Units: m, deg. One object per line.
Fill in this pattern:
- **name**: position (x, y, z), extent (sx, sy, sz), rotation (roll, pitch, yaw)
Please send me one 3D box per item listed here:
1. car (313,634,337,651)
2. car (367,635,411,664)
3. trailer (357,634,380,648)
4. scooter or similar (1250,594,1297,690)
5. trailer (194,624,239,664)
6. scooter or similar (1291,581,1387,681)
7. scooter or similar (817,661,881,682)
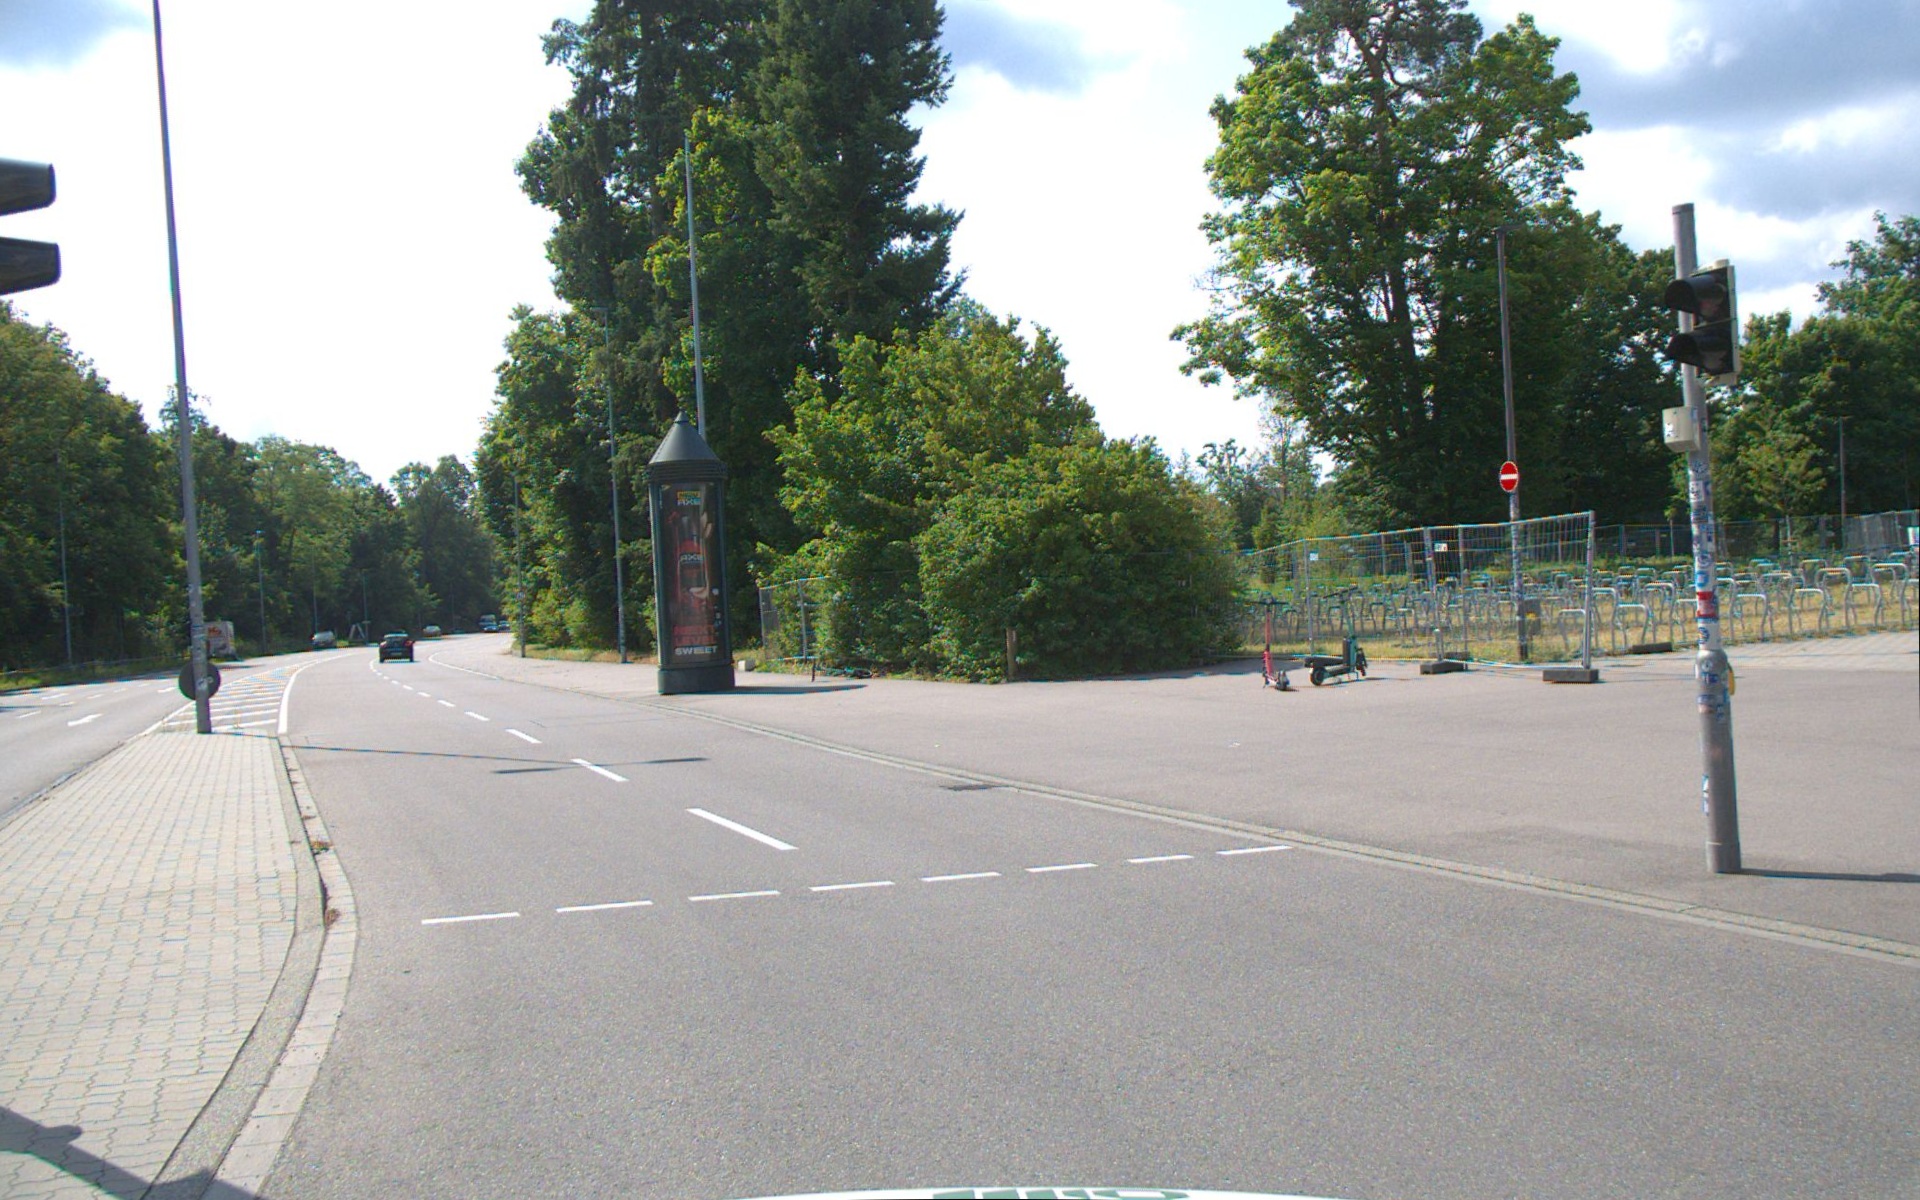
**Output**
- **car**: position (-58.765, 3.965, 153.060), extent (1.477, 1.471, 3.519), rotation (-3, -1, -11)
- **car**: position (-29.999, 2.582, 87.034), extent (1.569, 1.402, 3.965), rotation (-3, -1, -11)
- **trailer**: position (-62.674, 4.287, 175.201), extent (1.686, 1.378, 3.721), rotation (-3, -1, -11)
- **scooter or similar**: position (4.239, 0.549, 22.405), extent (0.397, 1.221, 1.312), rotation (-4, 0, 4)
- **trailer**: position (-47.395, 2.781, 105.512), extent (1.961, 2.430, 3.983), rotation (-3, -1, -16)
- **scooter or similar**: position (5.234, 0.416, 22.837), extent (1.294, 1.273, 0.403), rotation (-4, 0, -31)
- **scooter or similar**: position (-2.285, 1.453, 33.843), extent (0.842, 0.395, 1.462), rotation (2, -2, -25)
